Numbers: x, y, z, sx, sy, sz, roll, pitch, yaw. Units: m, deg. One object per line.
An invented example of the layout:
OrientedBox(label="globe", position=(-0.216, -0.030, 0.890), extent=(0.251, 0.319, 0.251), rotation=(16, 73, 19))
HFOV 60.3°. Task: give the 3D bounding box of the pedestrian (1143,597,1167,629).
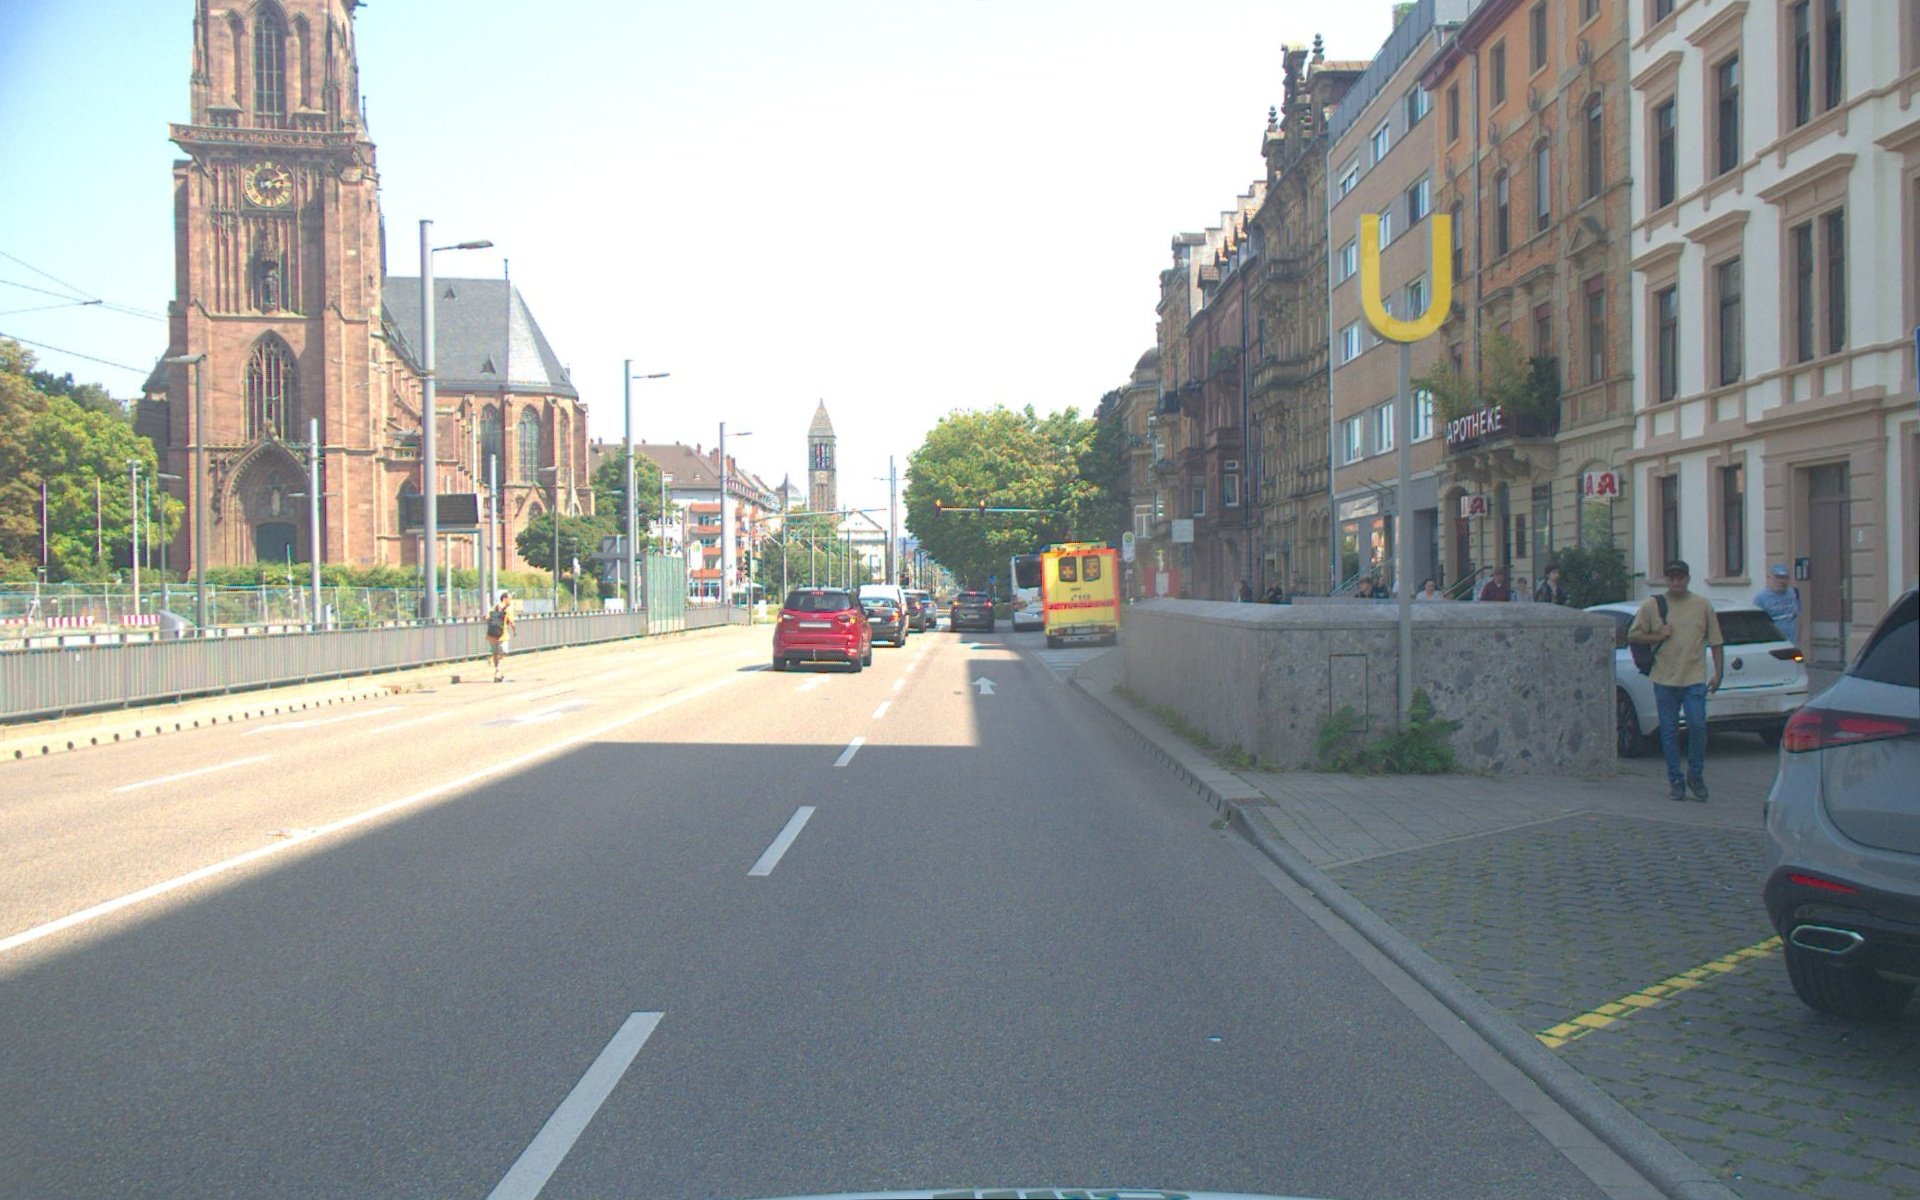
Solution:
OrientedBox(label="pedestrian", position=(11.571, 0.776, 98.200), extent=(1.223, 1.782, 1.526), rotation=(-1, 2, 1))

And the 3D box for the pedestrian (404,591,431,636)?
OrientedBox(label="pedestrian", position=(-21.852, 0.534, 66.607), extent=(0.812, 1.782, 0.720), rotation=(-1, -1, 1))

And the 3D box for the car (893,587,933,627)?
OrientedBox(label="car", position=(-2.083, 0.306, 74.175), extent=(1.754, 1.728, 3.999), rotation=(-1, -1, -1))

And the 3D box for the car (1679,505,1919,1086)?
OrientedBox(label="car", position=(4.775, 0.543, 6.294), extent=(4.626, 1.743, 2.013), rotation=(-1, 1, -42))

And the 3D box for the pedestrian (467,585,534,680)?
OrientedBox(label="pedestrian", position=(-8.814, 0.611, 31.745), extent=(0.745, 1.782, 1.069), rotation=(-1, -1, 19))

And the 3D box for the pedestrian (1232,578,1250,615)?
OrientedBox(label="pedestrian", position=(12.690, -0.155, 74.776), extent=(0.610, 1.621, 0.695), rotation=(-1, 0, -6))

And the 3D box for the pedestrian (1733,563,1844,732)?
OrientedBox(label="pedestrian", position=(8.669, 0.479, 17.346), extent=(0.657, 1.715, 0.943), rotation=(-1, 0, 0))

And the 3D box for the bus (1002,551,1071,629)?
OrientedBox(label="bus", position=(3.229, -0.427, 72.375), extent=(2.482, 3.085, 12.436), rotation=(-1, 0, 0))

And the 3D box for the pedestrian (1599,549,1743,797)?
OrientedBox(label="pedestrian", position=(5.437, 0.521, 12.631), extent=(0.850, 1.781, 0.871), rotation=(3, 2, 29))

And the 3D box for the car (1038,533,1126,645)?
OrientedBox(label="car", position=(3.483, -0.328, 47.452), extent=(2.251, 2.939, 5.602), rotation=(-2, 1, 4))

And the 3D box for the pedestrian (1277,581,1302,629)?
OrientedBox(label="pedestrian", position=(10.455, 0.157, 52.510), extent=(0.630, 1.519, 0.789), rotation=(-1, 0, 0))

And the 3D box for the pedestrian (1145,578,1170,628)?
OrientedBox(label="pedestrian", position=(6.808, 0.105, 56.980), extent=(0.683, 1.696, 0.602), rotation=(-1, 0, 26))

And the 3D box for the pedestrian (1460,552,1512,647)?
OrientedBox(label="pedestrian", position=(10.204, -0.029, 32.130), extent=(0.670, 1.805, 1.018), rotation=(-1, 1, 0))

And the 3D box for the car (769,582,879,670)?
OrientedBox(label="car", position=(-2.683, 0.475, 33.453), extent=(1.725, 1.646, 4.083), rotation=(-1, 0, 2))

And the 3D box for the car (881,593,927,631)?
OrientedBox(label="car", position=(-2.229, 0.484, 66.468), extent=(1.754, 1.498, 3.999), rotation=(-1, -1, -1))

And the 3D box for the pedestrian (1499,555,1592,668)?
OrientedBox(label="pedestrian", position=(8.576, 0.163, 24.251), extent=(0.842, 1.609, 0.960), rotation=(-1, 0, -33))

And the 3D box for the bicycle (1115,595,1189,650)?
OrientedBox(label="bicycle", position=(4.330, 0.501, 37.406), extent=(1.638, 1.237, 0.644), rotation=(0, 0, 5))

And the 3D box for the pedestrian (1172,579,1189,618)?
OrientedBox(label="pedestrian", position=(9.706, -0.063, 72.914), extent=(0.682, 1.696, 0.603), rotation=(-1, 0, 2))

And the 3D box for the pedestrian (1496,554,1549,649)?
OrientedBox(label="pedestrian", position=(10.936, 0.012, 32.170), extent=(0.670, 1.805, 1.018), rotation=(-1, 1, 0))

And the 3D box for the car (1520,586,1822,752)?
OrientedBox(label="car", position=(7.248, 0.629, 17.249), extent=(1.597, 1.465, 3.620), rotation=(-1, 1, 0))

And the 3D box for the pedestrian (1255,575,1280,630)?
OrientedBox(label="pedestrian", position=(9.764, 0.085, 52.506), extent=(0.630, 1.714, 0.789), rotation=(-1, 0, 0))

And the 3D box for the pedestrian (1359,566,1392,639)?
OrientedBox(label="pedestrian", position=(10.432, 0.069, 41.527), extent=(0.565, 1.780, 0.679), rotation=(-3, 0, 0))

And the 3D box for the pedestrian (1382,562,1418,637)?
OrientedBox(label="pedestrian", position=(11.047, -0.021, 41.533), extent=(0.587, 1.826, 0.880), rotation=(-3, 0, 0))

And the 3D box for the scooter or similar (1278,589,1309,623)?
OrientedBox(label="scooter or similar", position=(12.132, 0.232, 60.168), extent=(0.504, 1.217, 1.297), rotation=(-1, 0, -19))

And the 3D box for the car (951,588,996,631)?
OrientedBox(label="car", position=(0.526, 0.403, 67.999), extent=(1.754, 1.707, 3.999), rotation=(-1, -1, -1))

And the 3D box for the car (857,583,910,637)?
OrientedBox(label="car", position=(-2.662, 0.363, 58.271), extent=(1.754, 1.811, 3.999), rotation=(-1, -1, -1))

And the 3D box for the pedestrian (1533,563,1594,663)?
OrientedBox(label="pedestrian", position=(11.722, 0.245, 32.126), extent=(0.825, 1.878, 0.685), rotation=(-3, 0, -9))

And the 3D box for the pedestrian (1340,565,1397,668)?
OrientedBox(label="pedestrian", position=(7.255, 0.285, 29.417), extent=(0.832, 1.759, 0.972), rotation=(-2, 2, 7))

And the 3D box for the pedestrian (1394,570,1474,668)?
OrientedBox(label="pedestrian", position=(7.962, 0.318, 27.797), extent=(0.842, 1.609, 0.960), rotation=(-1, 0, -33))

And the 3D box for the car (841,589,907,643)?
OrientedBox(label="car", position=(-2.423, 0.424, 47.249), extent=(1.754, 1.456, 3.999), rotation=(-1, 0, -1))
